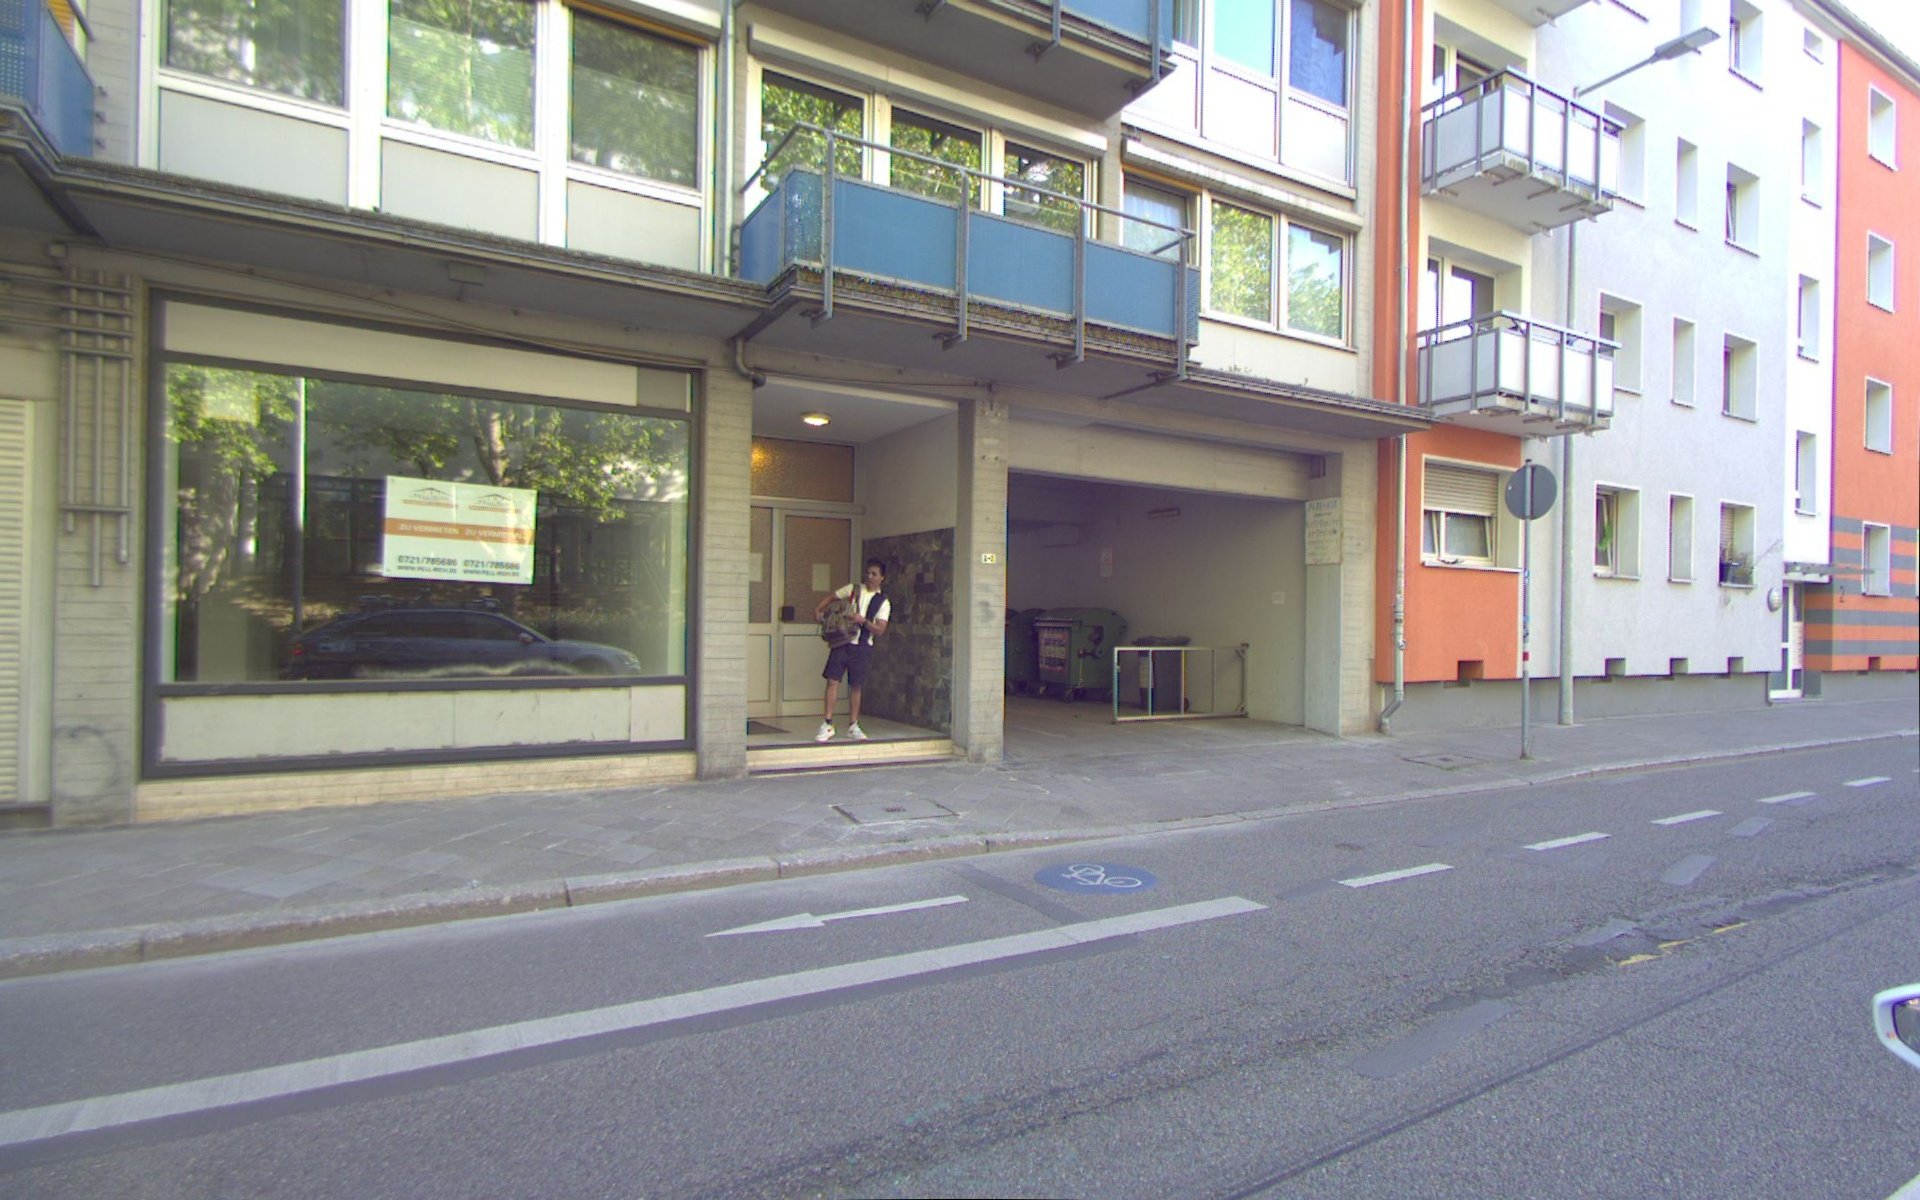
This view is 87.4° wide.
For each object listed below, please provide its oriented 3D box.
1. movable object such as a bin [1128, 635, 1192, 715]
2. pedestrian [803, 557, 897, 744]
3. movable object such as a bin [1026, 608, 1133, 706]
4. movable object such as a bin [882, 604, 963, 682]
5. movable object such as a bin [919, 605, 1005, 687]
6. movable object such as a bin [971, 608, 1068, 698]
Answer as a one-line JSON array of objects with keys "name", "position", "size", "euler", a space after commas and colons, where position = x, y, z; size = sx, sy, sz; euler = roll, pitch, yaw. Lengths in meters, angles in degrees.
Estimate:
[{"name": "movable object such as a bin", "position": [2.884, 1.073, 14.495], "size": [0.713, 1.094, 0.533], "euler": [2, 0, -29]}, {"name": "pedestrian", "position": [-1.005, 0.454, 9.315], "size": [0.778, 1.639, 0.836], "euler": [2, 0, -5]}, {"name": "movable object such as a bin", "position": [1.873, 0.873, 15.819], "size": [1.120, 1.444, 1.268], "euler": [2, 0, -28]}, {"name": "movable object such as a bin", "position": [-0.744, 0.834, 19.796], "size": [1.120, 1.444, 1.268], "euler": [2, 0, -28]}, {"name": "movable object such as a bin", "position": [0.028, 0.831, 18.705], "size": [1.120, 1.444, 1.268], "euler": [2, 0, -28]}, {"name": "movable object such as a bin", "position": [1.005, 0.877, 17.160], "size": [1.120, 1.444, 1.268], "euler": [2, 0, -28]}]
